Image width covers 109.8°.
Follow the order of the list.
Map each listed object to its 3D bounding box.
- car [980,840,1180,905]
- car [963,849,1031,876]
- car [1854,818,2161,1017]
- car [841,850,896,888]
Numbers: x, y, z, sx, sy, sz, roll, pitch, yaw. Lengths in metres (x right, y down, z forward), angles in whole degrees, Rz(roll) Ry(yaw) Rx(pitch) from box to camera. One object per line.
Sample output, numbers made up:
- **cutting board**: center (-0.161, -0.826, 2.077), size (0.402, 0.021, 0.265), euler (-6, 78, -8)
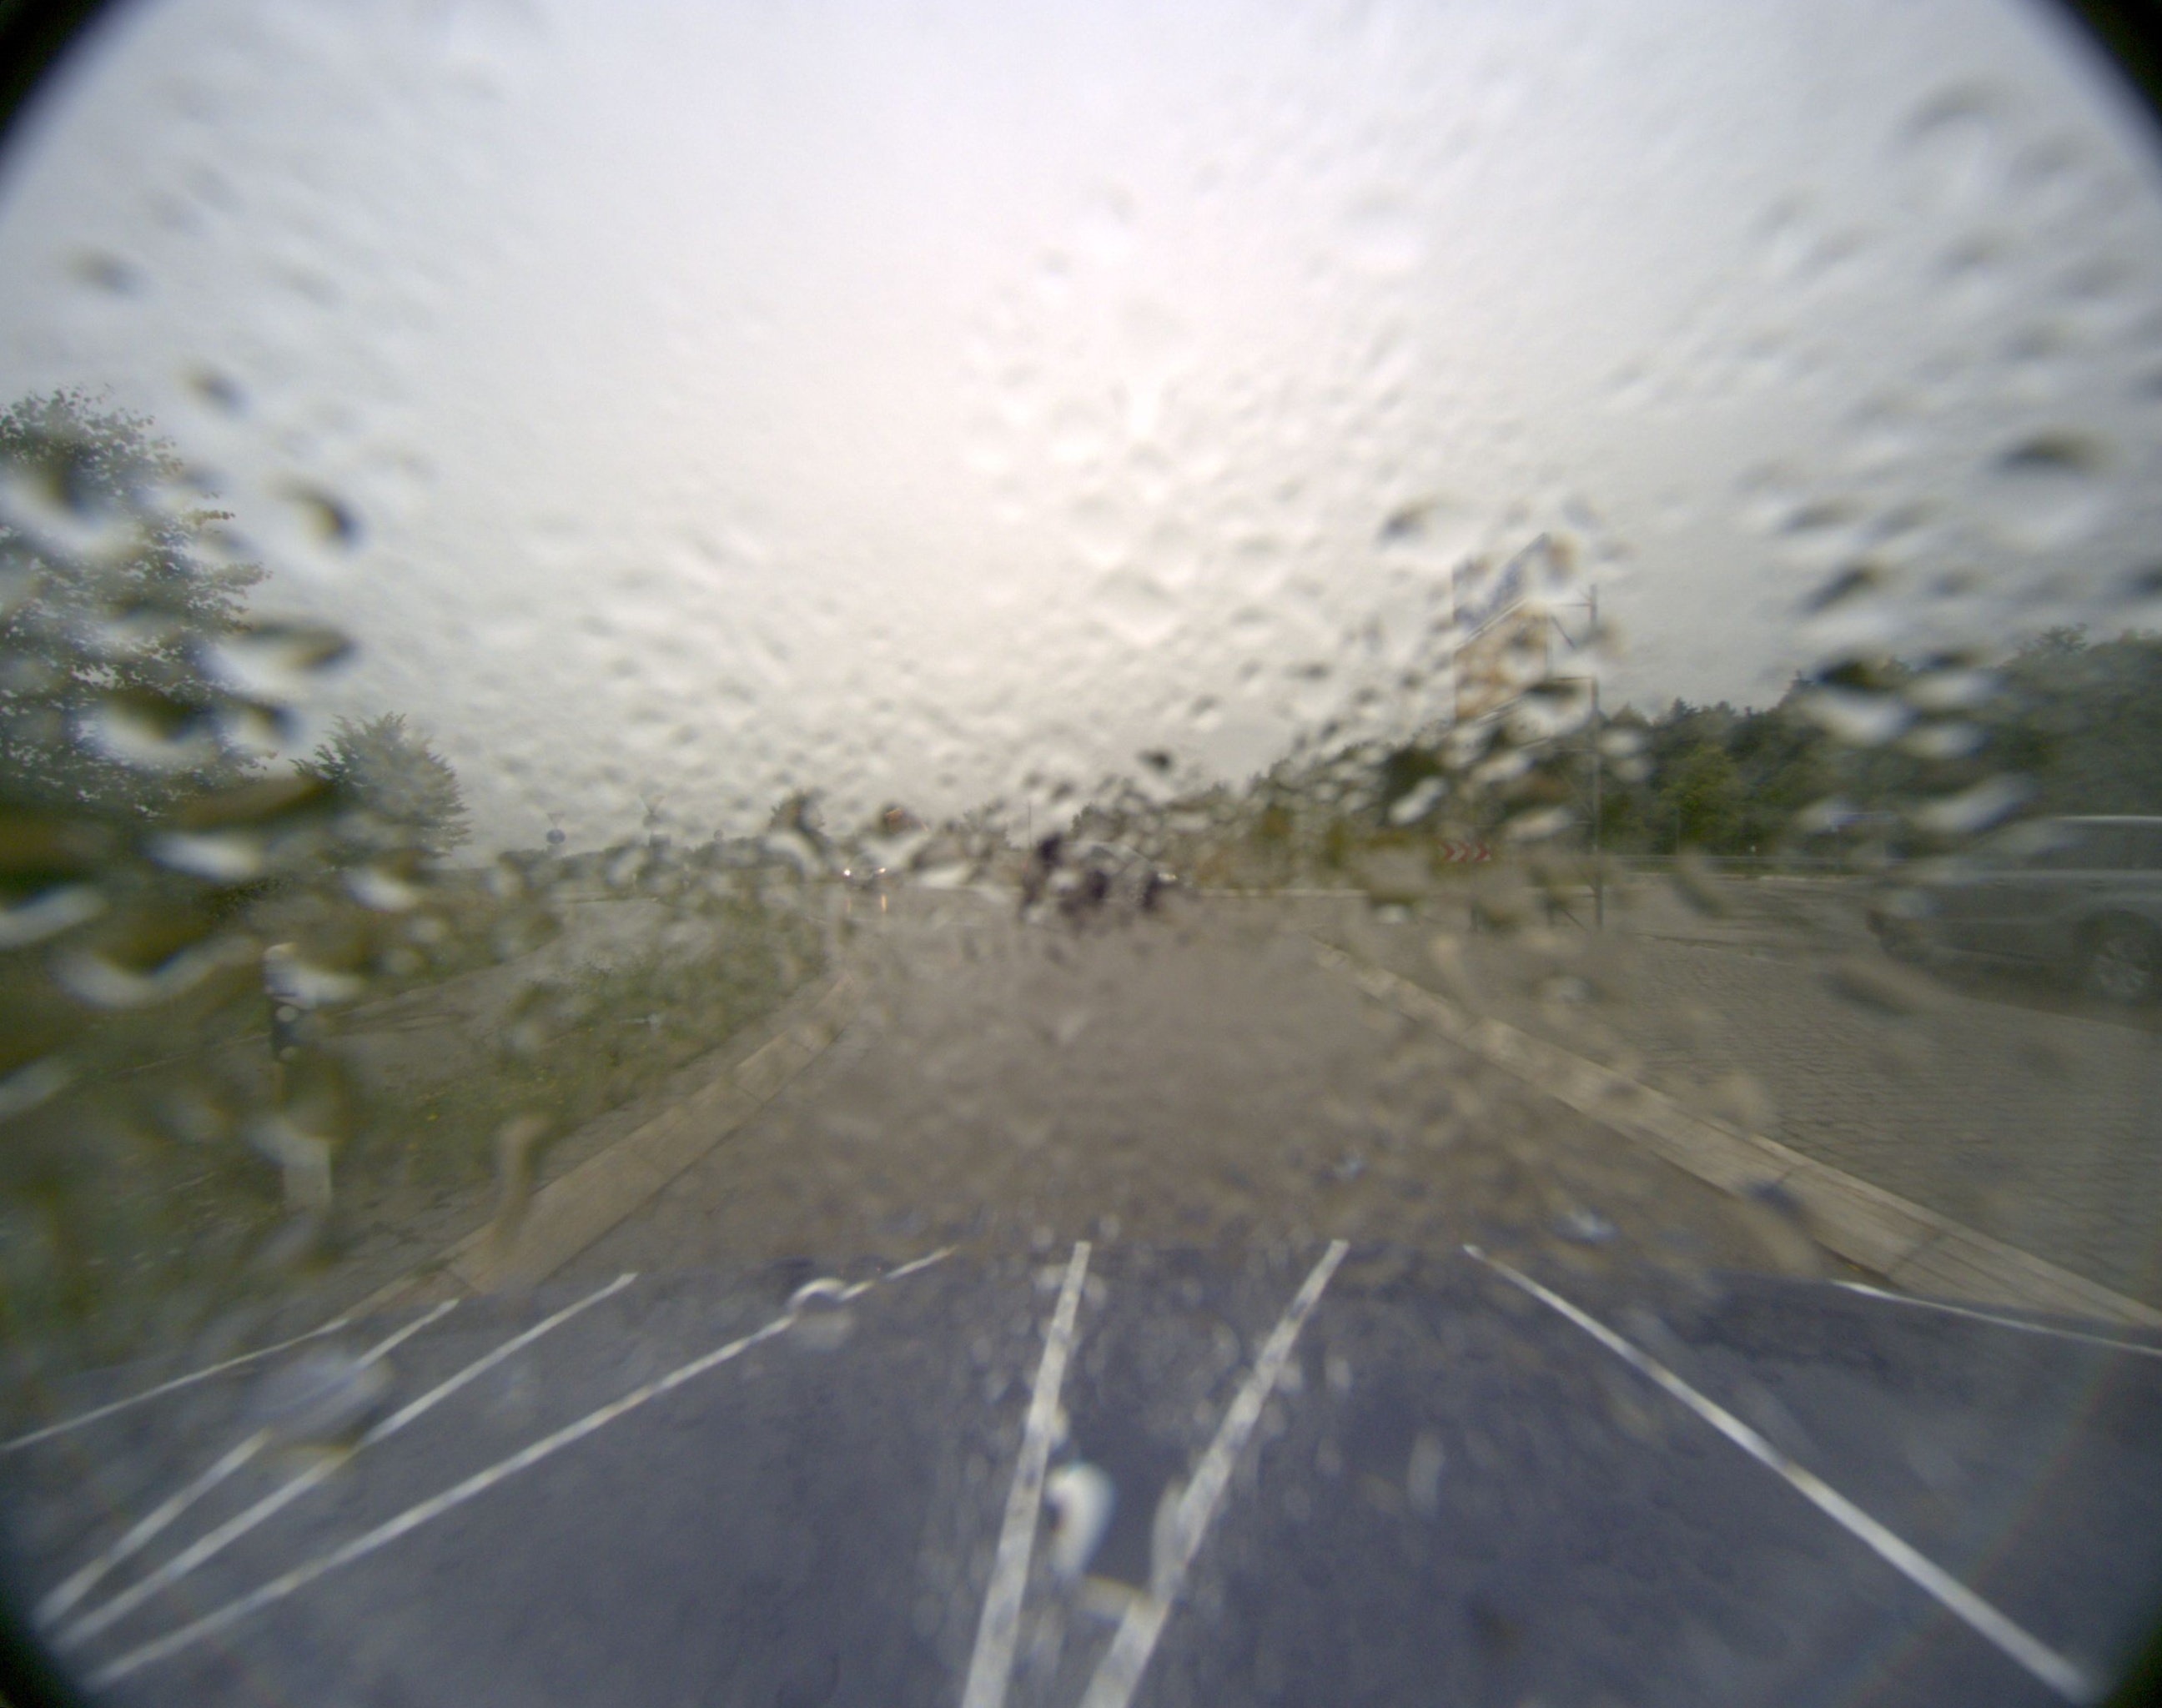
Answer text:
- **car**: center (-0.079, 0.441, 18.408), size (4.491, 1.412, 1.878), euler (-1, 0, 31)
- **car**: center (-4.577, 0.477, 42.166), size (1.760, 1.412, 4.511), euler (-1, -1, 22)
- **car**: center (9.758, 0.459, 7.099), size (1.803, 1.566, 4.004), euler (0, 2, 16)
- **car**: center (-8.348, 0.587, 30.148), size (1.951, 1.363, 4.499), euler (0, -1, -14)
